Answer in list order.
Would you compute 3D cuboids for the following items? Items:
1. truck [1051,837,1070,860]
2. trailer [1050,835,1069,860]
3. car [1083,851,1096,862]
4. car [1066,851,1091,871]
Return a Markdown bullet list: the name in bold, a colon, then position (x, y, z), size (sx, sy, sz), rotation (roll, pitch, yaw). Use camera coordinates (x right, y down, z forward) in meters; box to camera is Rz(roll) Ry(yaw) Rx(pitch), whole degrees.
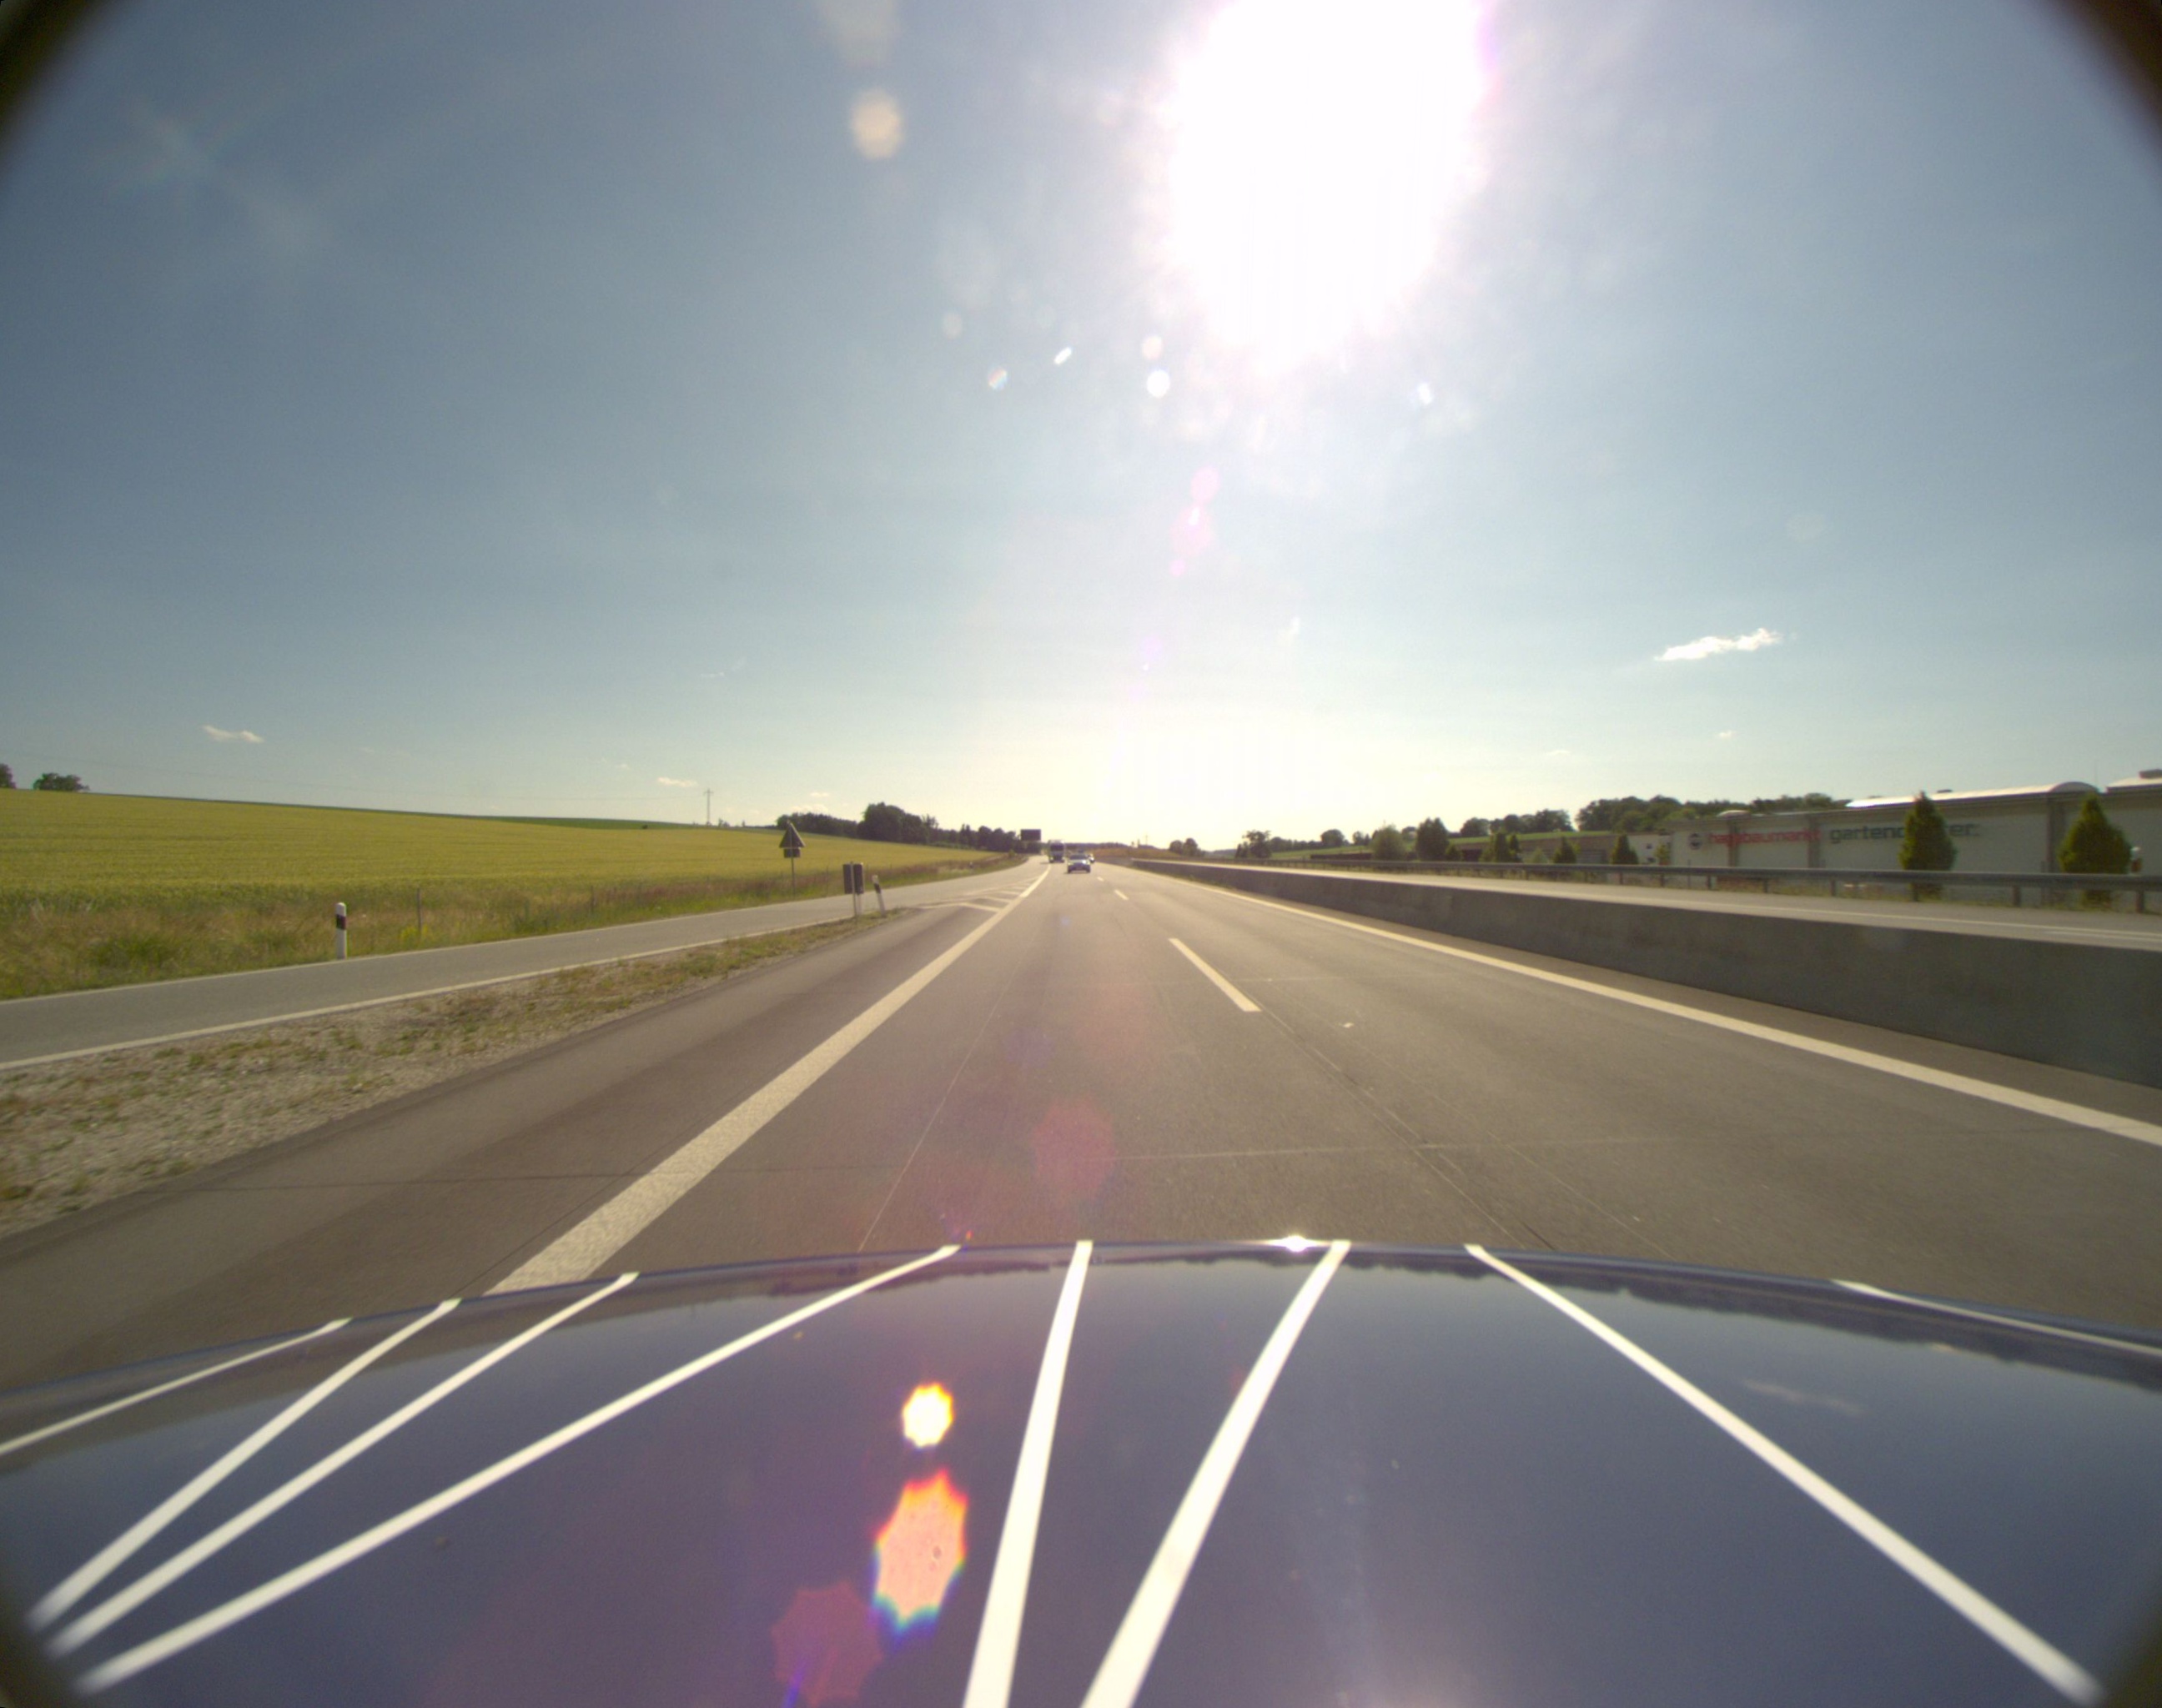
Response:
- **truck**: position (-3.565, -0.924, 130.204), size (3.091, 3.991, 6.187), rotation (0, 0, -3)
- **trailer**: position (-3.999, -1.113, 138.228), size (3.185, 4.269, 15.454), rotation (0, 0, -3)
- **car**: position (1.361, 0.403, 116.698), size (1.900, 1.560, 4.000), rotation (-2, 0, 0)
- **car**: position (-0.181, 0.530, 61.806), size (1.891, 1.565, 3.792), rotation (-1, 0, 2)
